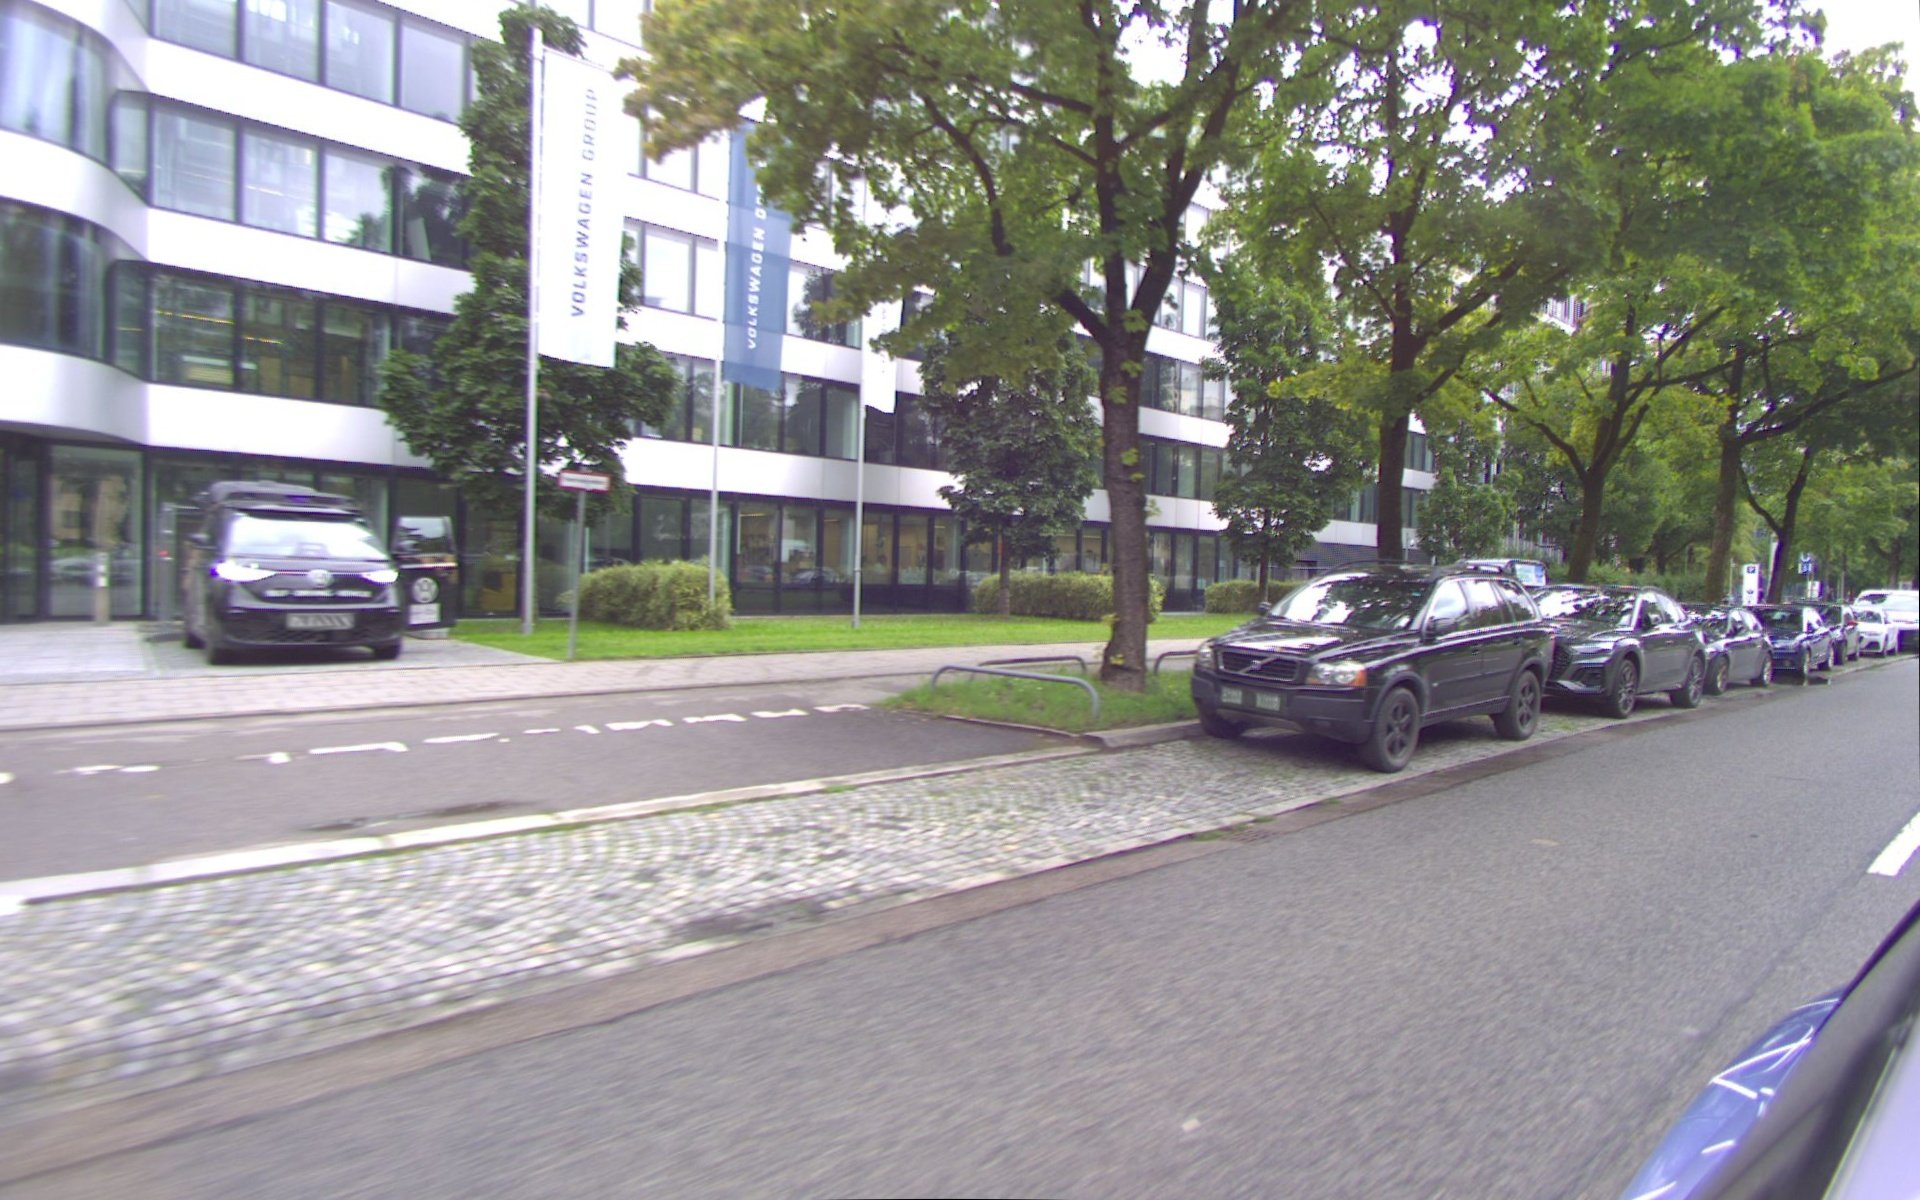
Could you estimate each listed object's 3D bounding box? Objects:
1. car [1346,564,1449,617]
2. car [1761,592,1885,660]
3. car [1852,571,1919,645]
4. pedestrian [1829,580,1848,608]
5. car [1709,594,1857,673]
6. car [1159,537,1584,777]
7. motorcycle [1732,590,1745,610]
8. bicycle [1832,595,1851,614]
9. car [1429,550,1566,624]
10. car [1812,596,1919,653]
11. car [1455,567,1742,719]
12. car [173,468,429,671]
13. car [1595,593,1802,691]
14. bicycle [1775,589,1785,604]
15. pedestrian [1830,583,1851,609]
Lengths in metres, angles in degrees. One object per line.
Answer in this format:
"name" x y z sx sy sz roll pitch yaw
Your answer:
"car" 16.335 -0.361 37.720 4.396 1.840 1.845 0 3 -43
"car" 21.423 0.596 25.078 3.908 1.464 1.706 0 3 -40
"car" 30.625 0.247 32.608 5.457 2.184 1.992 0 3 -40
"pedestrian" 60.415 -0.428 69.605 0.734 1.923 0.654 1 2 -27
"car" 17.646 0.651 21.635 4.048 1.438 1.706 0 3 -40
"car" 4.246 0.397 10.027 4.776 1.822 1.897 0 3 -41
"motorcycle" 52.207 -0.009 67.889 0.546 1.335 2.049 3 2 34
"bicycle" 62.160 0.332 71.373 1.826 1.241 0.532 3 3 -37
"car" 18.930 -0.449 35.494 6.161 2.335 2.268 0 3 -43
"car" 25.761 0.641 28.716 4.158 1.414 1.706 0 3 -40
"car" 8.811 0.484 13.805 4.712 1.696 1.818 0 3 -39
"car" -8.829 -0.431 13.287 2.109 2.109 5.481 0 2 -41
"car" 12.815 0.646 17.469 4.430 1.425 1.707 0 3 -38
"bicycle" 66.266 -0.263 81.779 0.510 1.203 2.112 3 2 38
"pedestrian" 59.883 -0.301 68.824 0.735 1.735 0.787 1 2 -26
